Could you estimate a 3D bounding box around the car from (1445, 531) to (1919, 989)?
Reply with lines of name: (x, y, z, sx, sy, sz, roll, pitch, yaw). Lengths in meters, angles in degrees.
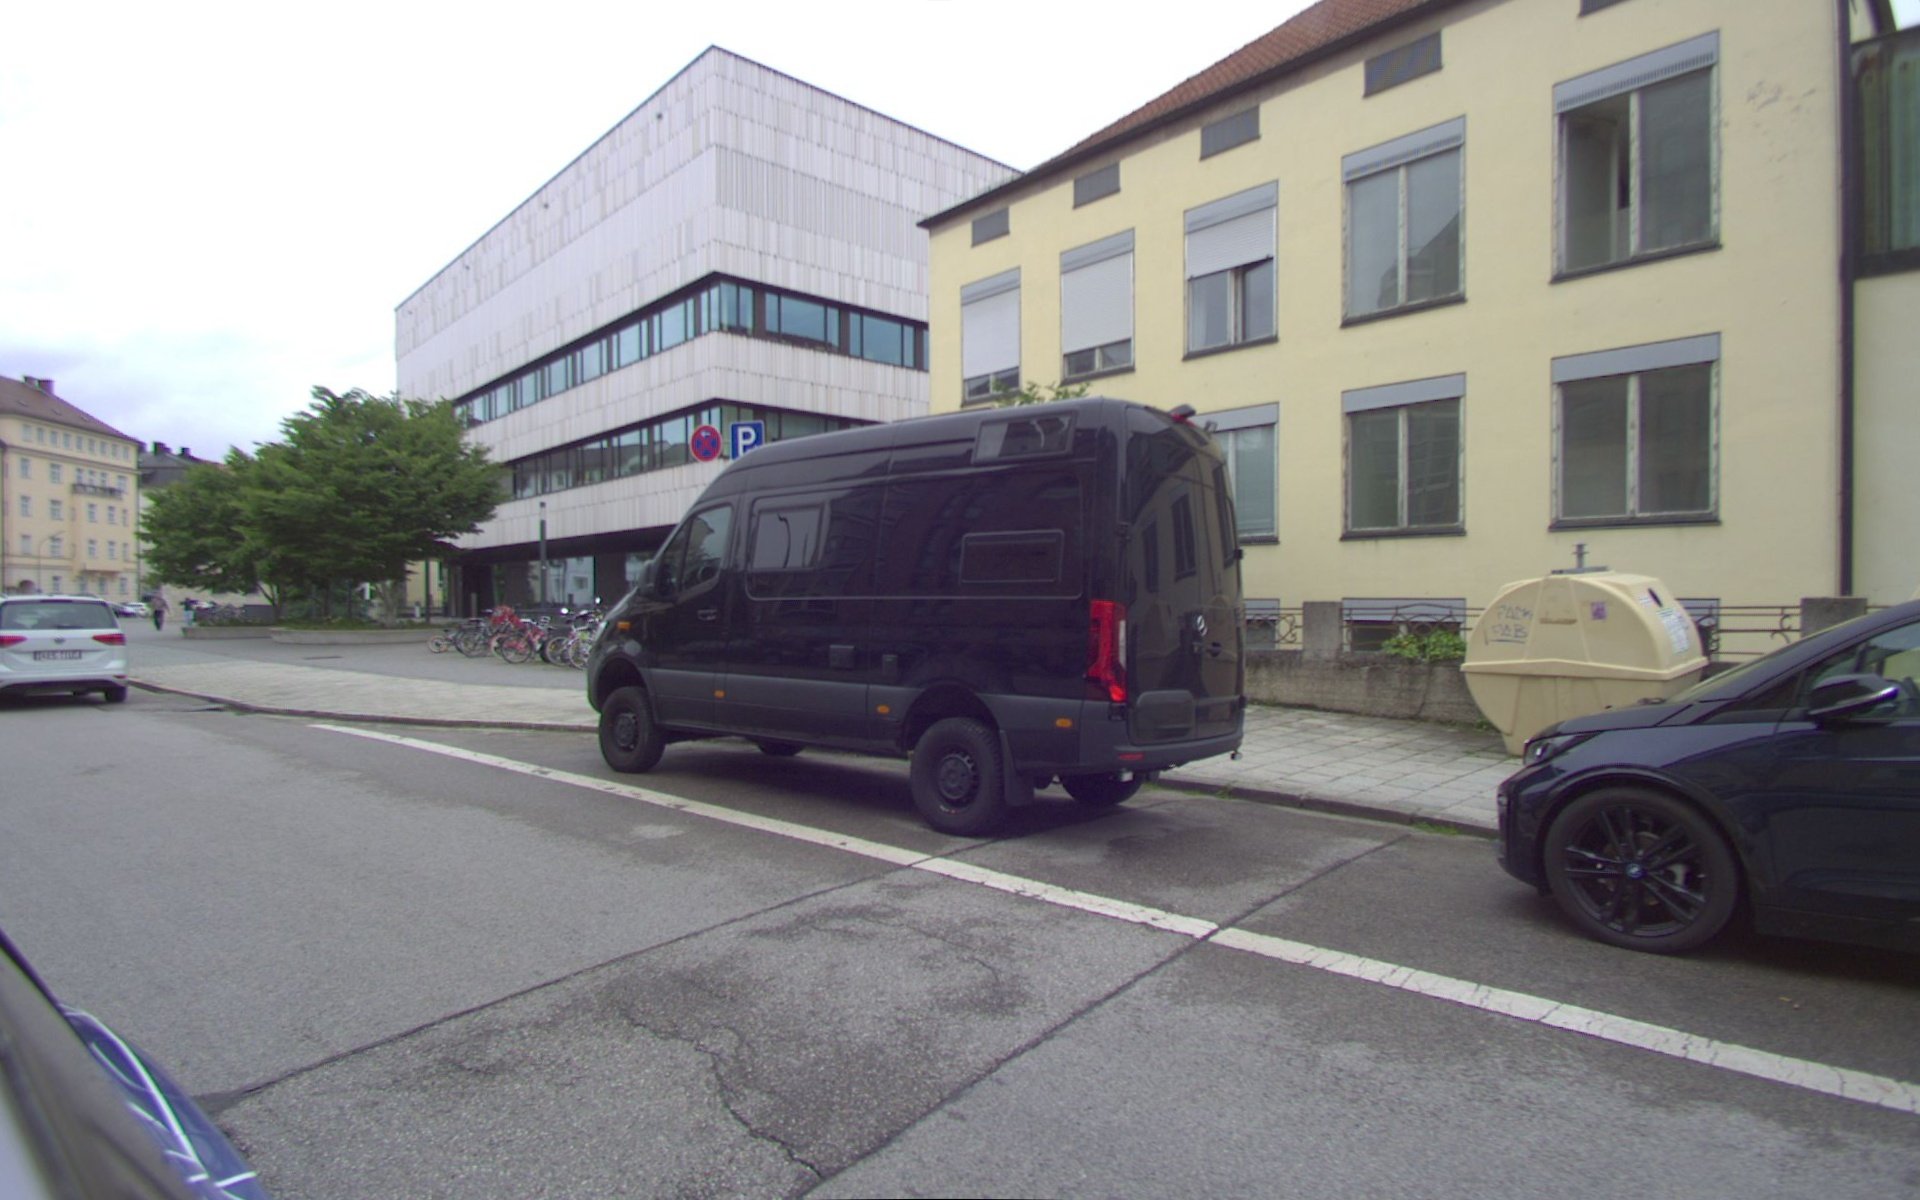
car: (4.494, 0.608, 3.932, 1.858, 1.649, 4.351, 4, -3, -45)

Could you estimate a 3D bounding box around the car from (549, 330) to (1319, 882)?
car: (-0.611, 0.059, 8.095, 6.190, 2.875, 2.191, 0, -2, 39)

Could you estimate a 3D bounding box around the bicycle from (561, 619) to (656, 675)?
bicycle: (-7.115, 0.930, 20.538, 0.519, 1.031, 1.790, 0, 1, 44)

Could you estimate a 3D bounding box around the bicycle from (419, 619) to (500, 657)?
bicycle: (-13.490, 1.018, 27.332, 0.739, 0.934, 1.826, 0, 1, 42)

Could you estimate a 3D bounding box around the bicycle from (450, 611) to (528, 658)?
bicycle: (-12.479, 0.904, 26.850, 0.519, 1.160, 1.790, 0, 1, 44)

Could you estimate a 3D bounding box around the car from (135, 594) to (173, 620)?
car: (-76.502, 0.629, 96.091, 1.861, 2.374, 4.013, -1, 1, -24)

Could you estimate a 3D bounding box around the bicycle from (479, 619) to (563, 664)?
bicycle: (-10.386, 0.965, 24.006, 0.473, 0.970, 1.795, 0, 1, 41)

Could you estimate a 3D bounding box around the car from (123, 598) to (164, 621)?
car: (-73.542, 0.831, 91.219, 1.861, 2.029, 4.013, -1, 1, -24)

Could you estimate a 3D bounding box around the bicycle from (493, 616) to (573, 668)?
bicycle: (-9.562, 0.925, 22.698, 1.563, 1.024, 0.443, -3, 2, -39)

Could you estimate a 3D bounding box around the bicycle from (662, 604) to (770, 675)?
bicycle: (-4.267, 0.671, 17.796, 1.787, 1.160, 0.520, -1, 1, -37)

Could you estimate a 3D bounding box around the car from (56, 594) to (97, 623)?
car: (-65.123, 0.589, 74.642, 1.863, 2.029, 4.010, -1, 1, -35)

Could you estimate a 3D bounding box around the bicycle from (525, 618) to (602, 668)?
bicycle: (-8.803, 0.934, 22.516, 0.442, 1.019, 1.566, 0, 1, 41)

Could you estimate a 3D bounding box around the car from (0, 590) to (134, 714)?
car: (-14.273, 0.704, 15.548, 4.147, 1.686, 1.774, 0, 0, 41)

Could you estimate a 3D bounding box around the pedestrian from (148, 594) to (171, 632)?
pedestrian: (-38.347, 0.633, 48.489, 0.516, 1.799, 0.777, 0, 1, 40)

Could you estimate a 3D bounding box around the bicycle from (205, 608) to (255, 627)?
bicycle: (-40.679, 0.977, 56.410, 0.796, 0.999, 2.124, 0, 0, 30)

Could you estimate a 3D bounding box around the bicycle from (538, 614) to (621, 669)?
bicycle: (-8.282, 0.891, 22.081, 0.501, 1.112, 1.635, 0, 1, 43)

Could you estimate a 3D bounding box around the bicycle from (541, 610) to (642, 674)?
bicycle: (-7.571, 0.841, 20.854, 0.497, 1.225, 1.919, 0, 1, 44)

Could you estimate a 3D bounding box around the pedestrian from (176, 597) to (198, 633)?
pedestrian: (-38.677, 0.754, 50.647, 0.516, 1.799, 0.777, 0, 1, 40)

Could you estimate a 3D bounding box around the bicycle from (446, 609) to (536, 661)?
bicycle: (-11.629, 0.850, 25.135, 0.745, 1.202, 1.889, 0, 1, 41)

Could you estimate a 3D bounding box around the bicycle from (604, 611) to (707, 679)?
bicycle: (-5.605, 0.799, 18.731, 0.519, 1.160, 1.790, 0, 1, 44)
